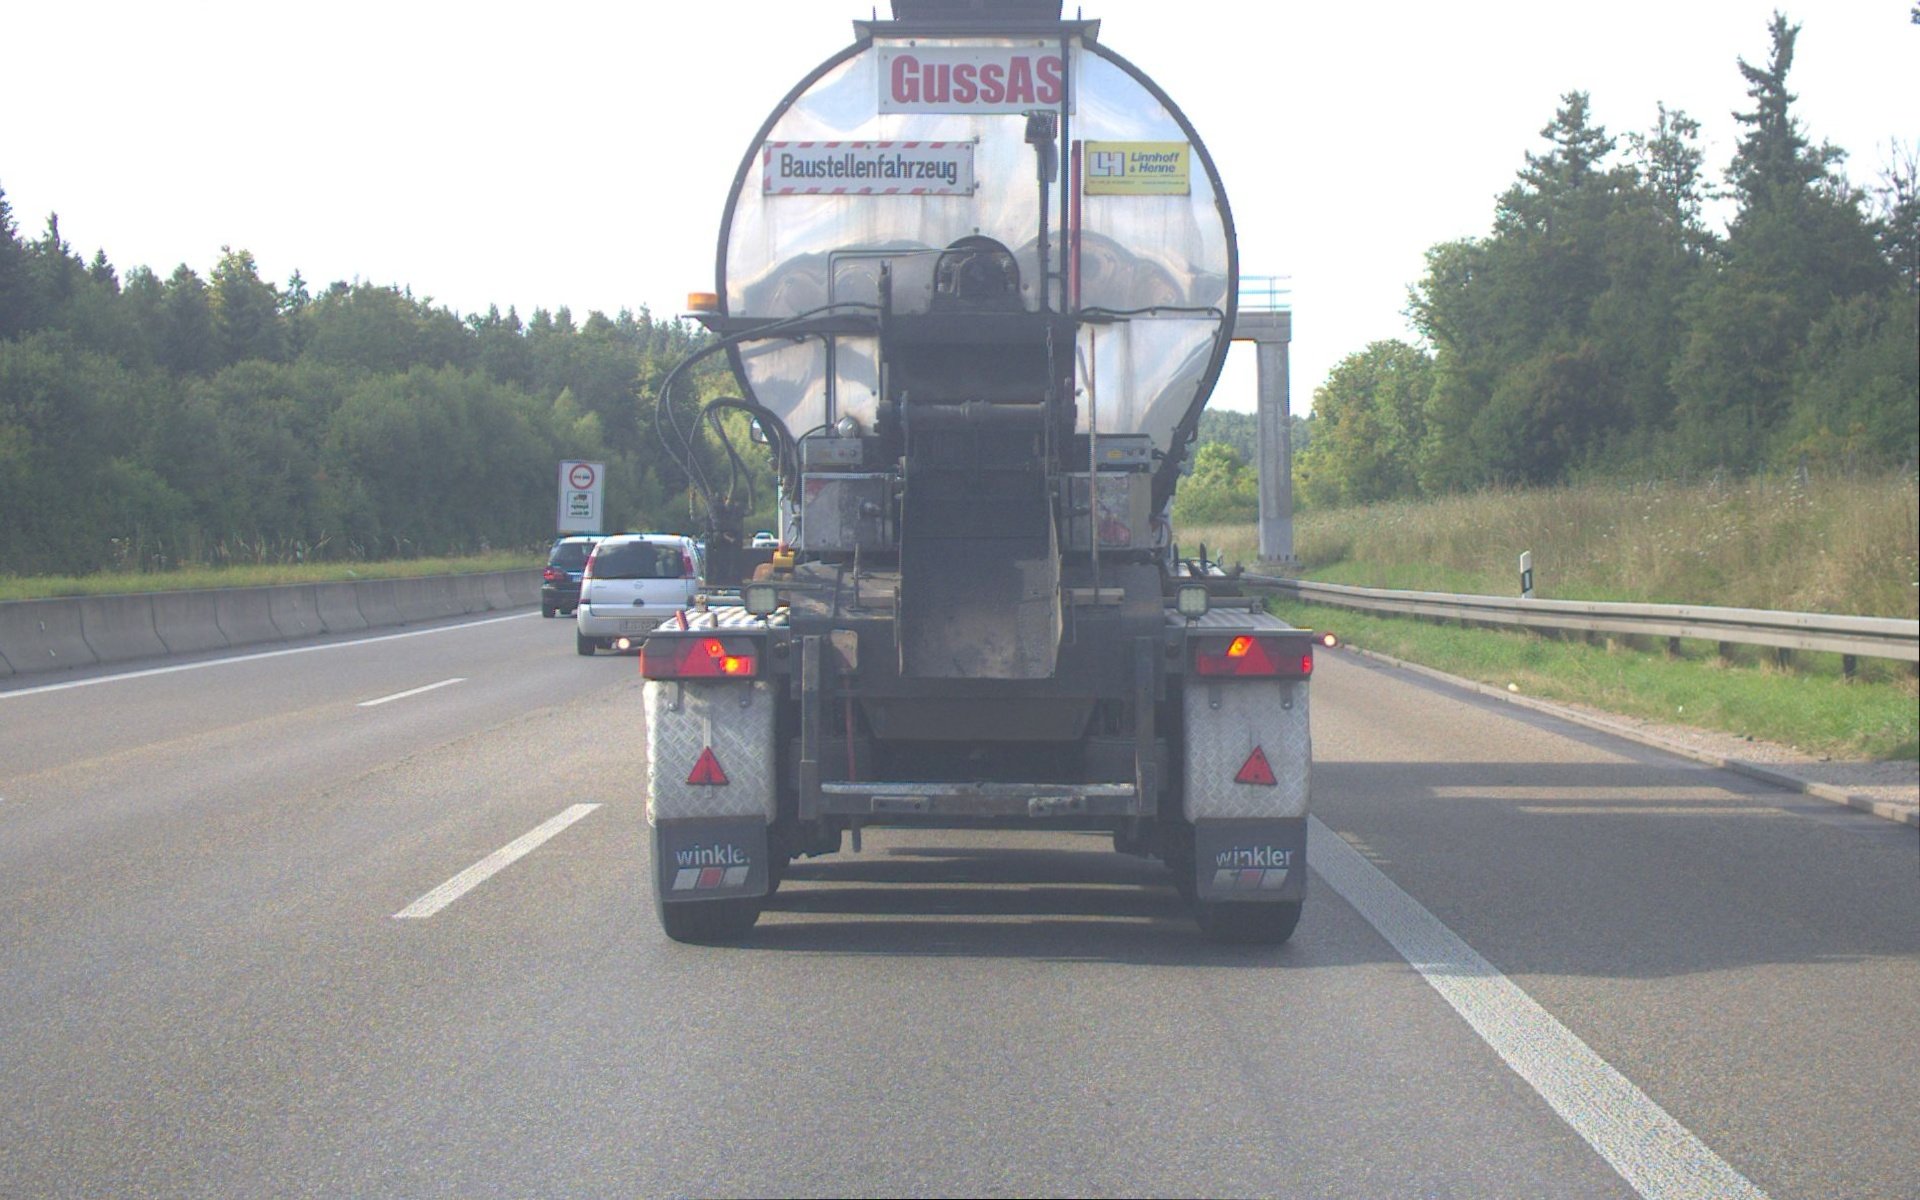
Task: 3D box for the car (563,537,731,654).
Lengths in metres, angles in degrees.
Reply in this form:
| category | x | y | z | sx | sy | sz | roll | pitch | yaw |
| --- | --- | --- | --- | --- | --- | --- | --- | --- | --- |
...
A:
| category | x | y | z | sx | sy | sz | roll | pitch | yaw |
| --- | --- | --- | --- | --- | --- | --- | --- | --- | --- |
| car | -4.186 | -0.095 | 46.529 | 1.835 | 1.512 | 4.333 | 0 | 1 | 0 |

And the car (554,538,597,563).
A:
| category | x | y | z | sx | sy | sz | roll | pitch | yaw |
| --- | --- | --- | --- | --- | --- | --- | --- | --- | --- |
| car | -20.126 | -2.617 | 180.110 | 1.816 | 1.286 | 3.544 | 0 | 1 | 1 |

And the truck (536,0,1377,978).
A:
| category | x | y | z | sx | sy | sz | roll | pitch | yaw |
| --- | --- | --- | --- | --- | --- | --- | --- | --- | --- |
| truck | 0.055 | -0.866 | 17.591 | 2.913 | 4.143 | 11.270 | 0 | 1 | 1 |

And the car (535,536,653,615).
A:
| category | x | y | z | sx | sy | sz | roll | pitch | yaw |
| --- | --- | --- | --- | --- | --- | --- | --- | --- | --- |
| car | -7.232 | -0.516 | 68.296 | 1.835 | 1.512 | 4.333 | 0 | 1 | 0 |

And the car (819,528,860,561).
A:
| category | x | y | z | sx | sy | sz | roll | pitch | yaw |
| --- | --- | --- | --- | --- | --- | --- | --- | --- | --- |
| car | -5.810 | -2.679 | 165.769 | 1.807 | 1.580 | 4.207 | 0 | 1 | 0 |

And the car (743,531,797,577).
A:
| category | x | y | z | sx | sy | sz | roll | pitch | yaw |
| --- | --- | --- | --- | --- | --- | --- | --- | --- | --- |
| car | -6.411 | -1.559 | 116.307 | 1.618 | 1.539 | 3.520 | 1 | 1 | 0 |

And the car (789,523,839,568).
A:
| category | x | y | z | sx | sy | sz | roll | pitch | yaw |
| --- | --- | --- | --- | --- | --- | --- | --- | --- | --- |
| car | -5.759 | -2.164 | 136.208 | 1.845 | 1.777 | 4.000 | 0 | 1 | -1 |
